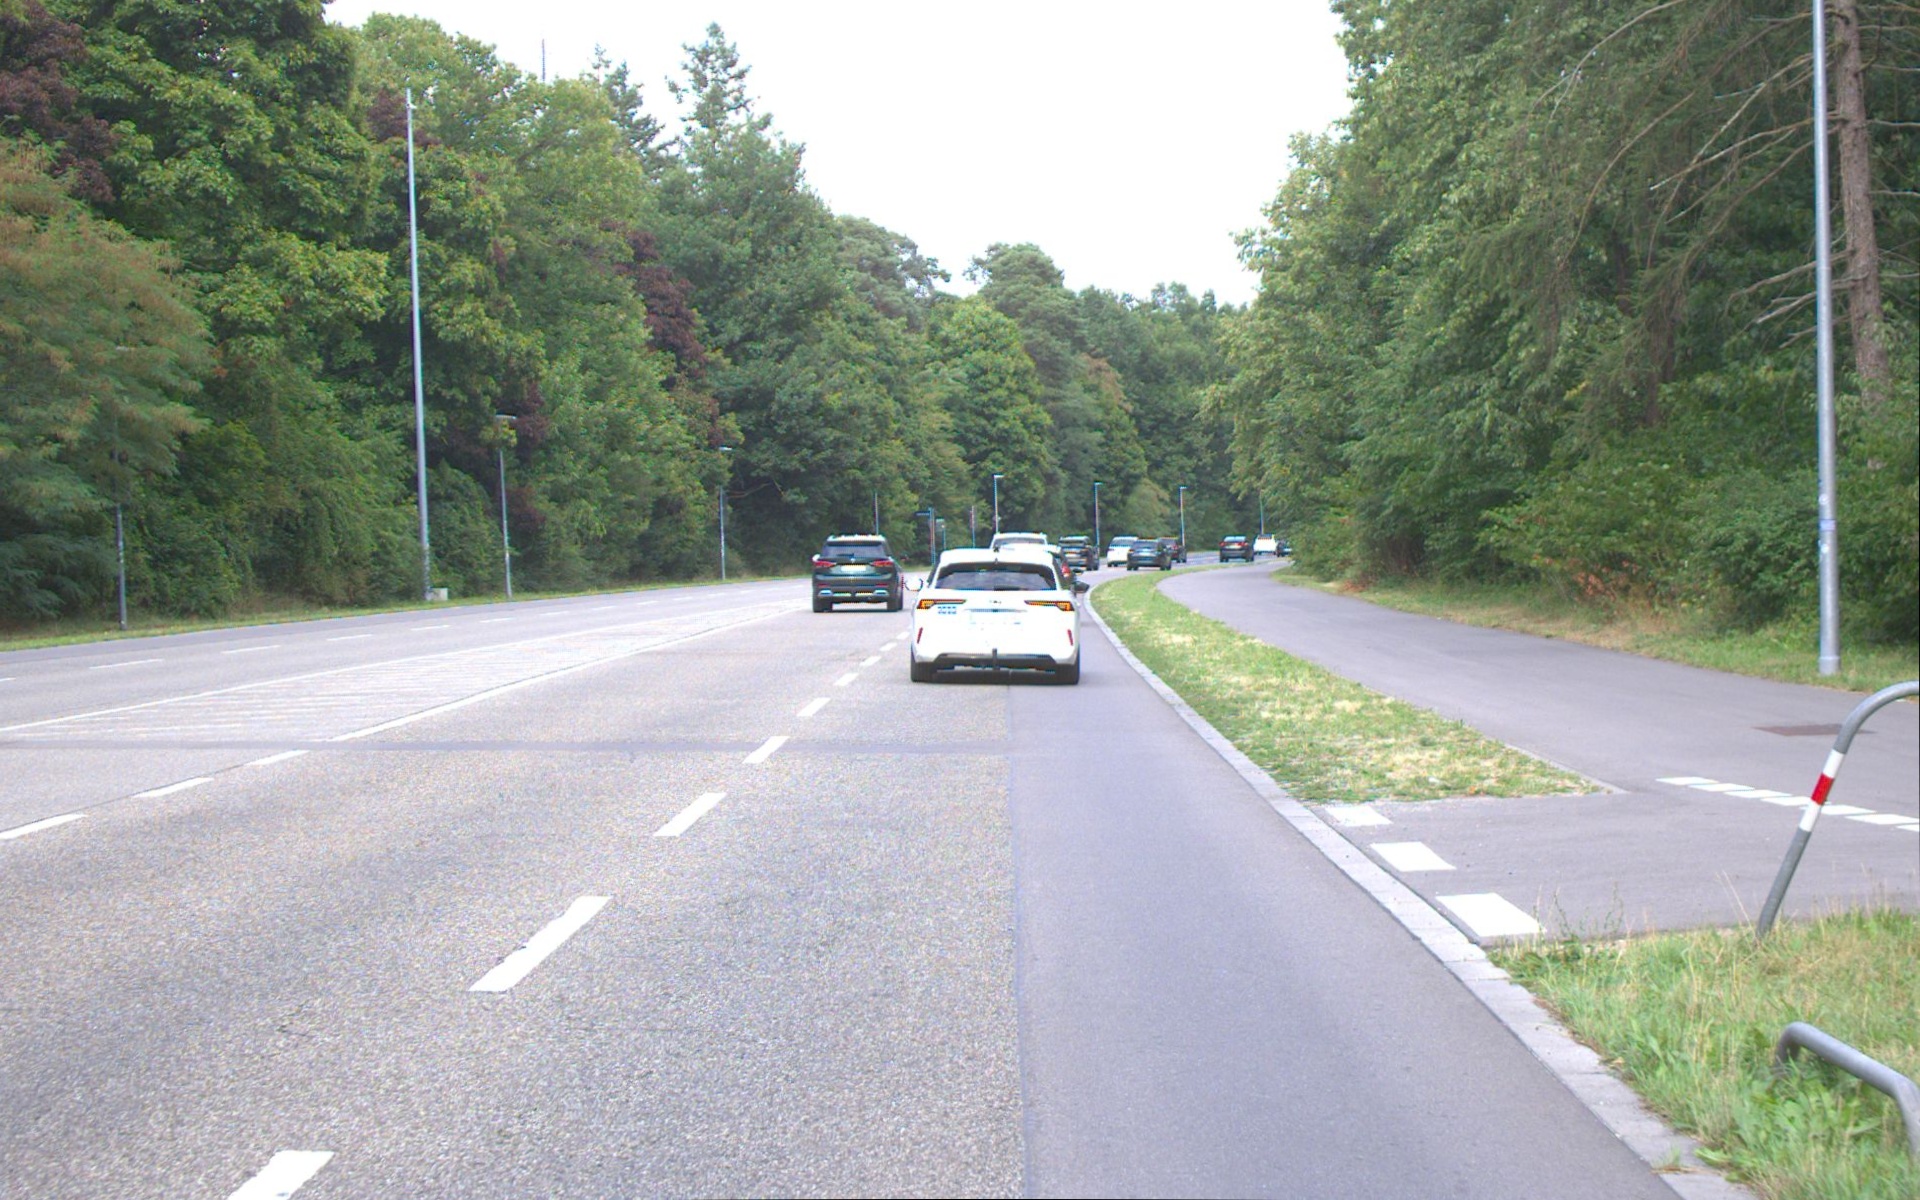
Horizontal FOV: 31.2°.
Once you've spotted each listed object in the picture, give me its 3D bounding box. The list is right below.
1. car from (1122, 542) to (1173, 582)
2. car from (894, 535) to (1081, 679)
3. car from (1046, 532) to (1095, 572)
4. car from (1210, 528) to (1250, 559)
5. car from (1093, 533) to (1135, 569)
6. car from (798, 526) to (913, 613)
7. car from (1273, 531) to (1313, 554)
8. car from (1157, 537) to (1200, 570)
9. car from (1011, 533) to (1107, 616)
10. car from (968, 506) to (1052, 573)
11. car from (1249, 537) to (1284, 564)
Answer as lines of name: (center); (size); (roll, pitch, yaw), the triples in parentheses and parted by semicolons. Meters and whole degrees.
car: (8.836, -1.797, 162.046); (1.994, 1.777, 3.999); (2, 0, 8)
car: (0.363, 0.056, 37.214); (1.836, 1.405, 4.490); (2, 0, 2)
car: (5.167, -2.234, 160.021); (1.994, 1.777, 3.999); (2, 0, 5)
car: (16.251, -3.376, 206.563); (1.994, 1.777, 3.998); (2, 0, 9)
car: (8.085, -2.545, 180.289); (1.994, 1.777, 3.999); (2, 0, 5)
car: (-2.198, -0.639, 73.135); (1.994, 1.780, 3.999); (-1, 0, 5)
car: (22.512, -3.886, 232.519); (1.995, 1.404, 3.997); (2, 0, 15)
car: (12.530, -2.629, 196.782); (1.994, 1.777, 3.998); (2, 0, 9)
car: (1.800, -0.462, 62.455); (1.635, 1.415, 4.000); (2, 0, 2)
car: (1.250, -1.525, 87.463); (1.993, 1.601, 4.000); (2, 0, -1)
car: (22.005, -3.524, 246.738); (1.889, 1.809, 3.997); (2, 0, 14)
